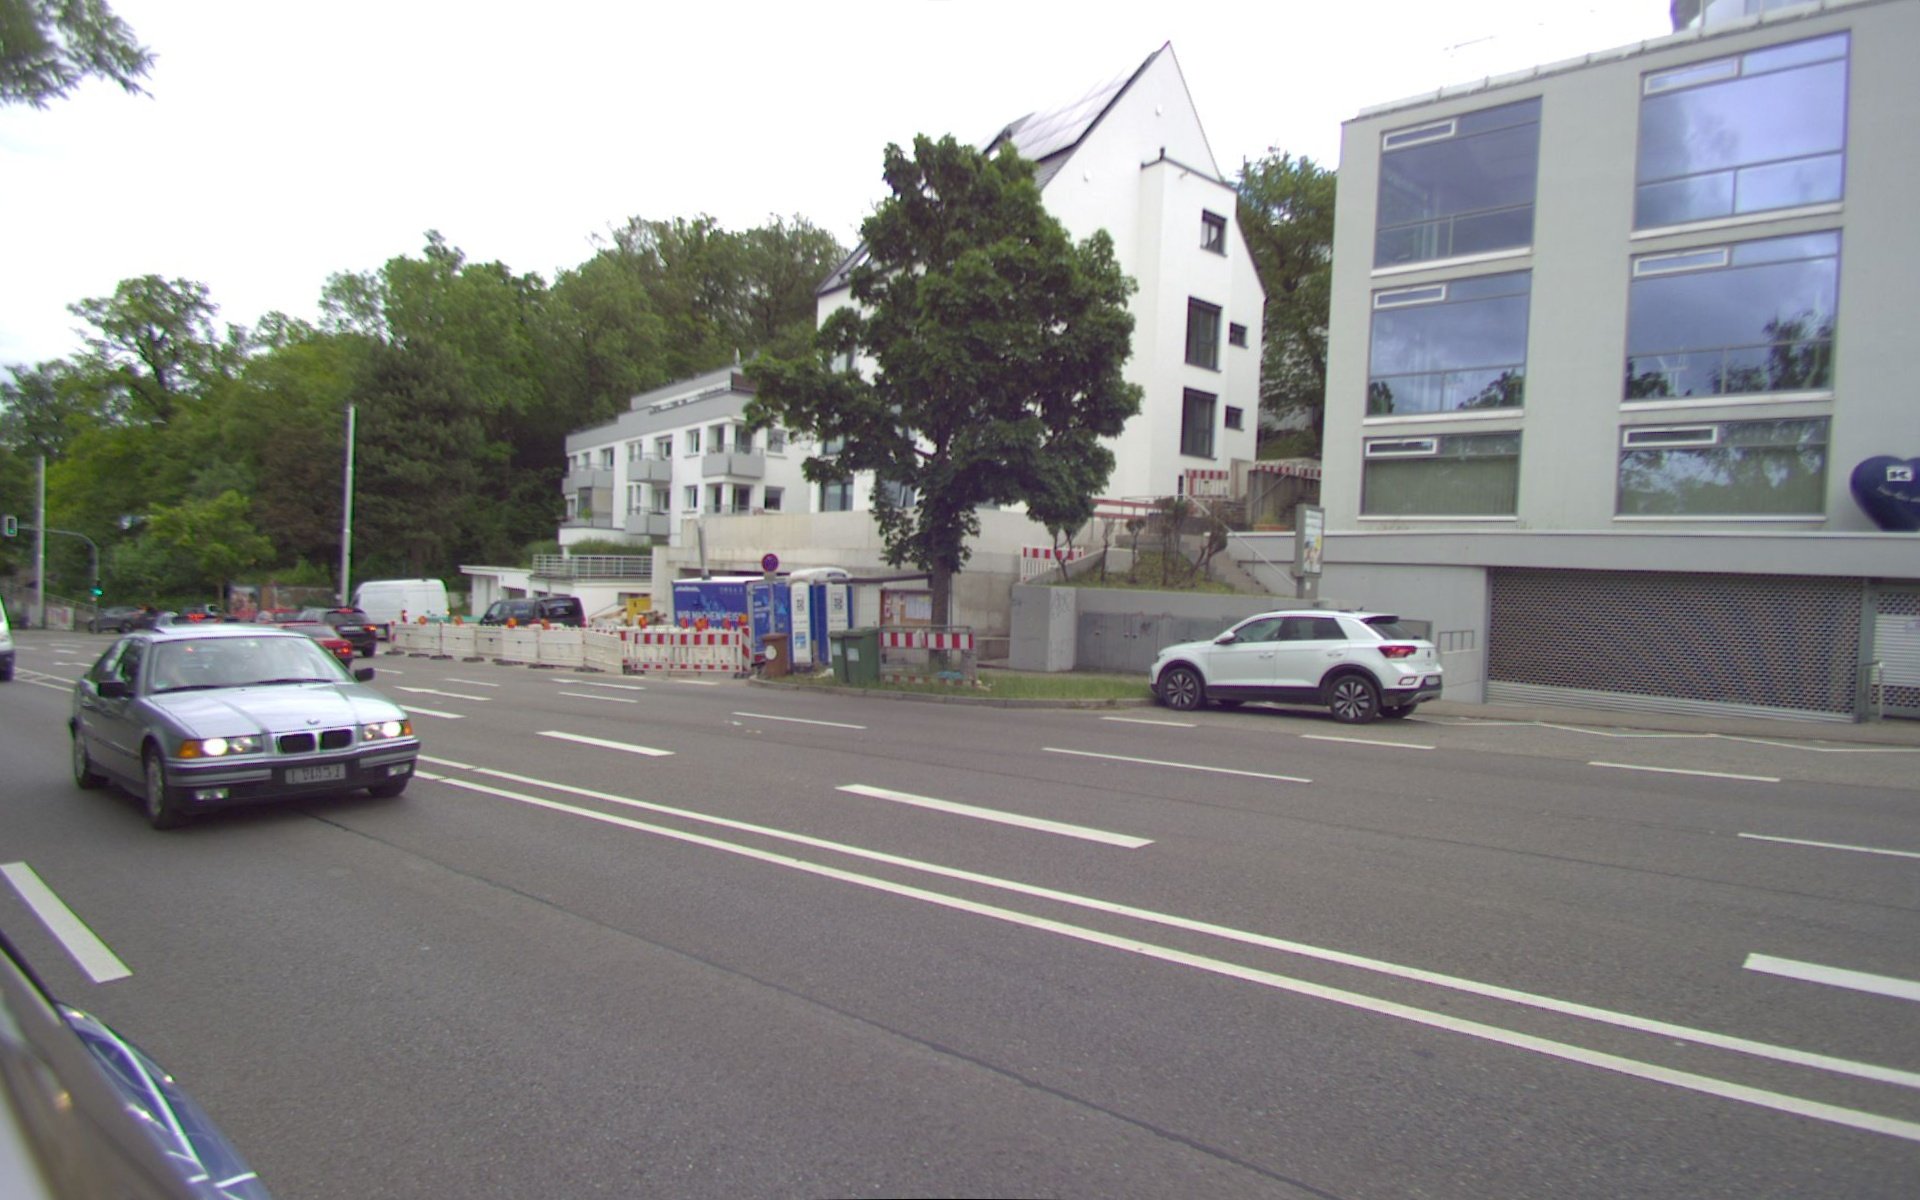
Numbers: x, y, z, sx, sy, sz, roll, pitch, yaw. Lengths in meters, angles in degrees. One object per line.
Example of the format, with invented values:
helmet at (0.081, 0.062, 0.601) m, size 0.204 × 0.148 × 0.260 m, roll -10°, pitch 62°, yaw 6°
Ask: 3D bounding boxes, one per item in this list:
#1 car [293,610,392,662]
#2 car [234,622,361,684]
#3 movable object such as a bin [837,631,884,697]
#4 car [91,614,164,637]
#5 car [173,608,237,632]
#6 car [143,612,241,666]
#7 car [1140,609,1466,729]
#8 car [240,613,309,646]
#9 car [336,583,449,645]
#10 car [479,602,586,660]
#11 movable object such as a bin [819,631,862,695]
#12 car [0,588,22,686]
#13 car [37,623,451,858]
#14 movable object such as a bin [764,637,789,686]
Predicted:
car at (-20.428, 1.143, 33.413) m, size 4.226 × 1.609 × 1.756 m, roll -1°, pitch -1°, yaw 43°
car at (-16.820, 1.278, 25.611) m, size 4.322 × 1.392 × 1.729 m, roll -1°, pitch -1°, yaw 43°
movable object such as a bin at (-1.811, 1.145, 18.375) m, size 0.581 × 1.146 × 0.646 m, roll 0°, pitch -1°, yaw -43°
car at (-48.047, 1.470, 58.402) m, size 3.260 × 1.294 × 1.562 m, roll 0°, pitch -1°, yaw 11°
car at (-46.443, 1.218, 62.330) m, size 1.561 × 1.454 × 3.295 m, roll 0°, pitch -1°, yaw -1°
car at (-24.523, 1.193, 32.239) m, size 4.664 × 1.609 × 1.756 m, roll -1°, pitch -1°, yaw 43°
car at (4.899, 0.914, 14.840) m, size 4.238 × 1.515 × 1.650 m, roll -1°, pitch -2°, yaw 43°
car at (-31.244, 1.334, 46.120) m, size 3.288 × 1.454 × 1.564 m, roll -1°, pitch -1°, yaw 36°
car at (-24.948, 0.618, 44.381) m, size 6.525 × 2.545 × 1.974 m, roll -1°, pitch 0°, yaw 38°
car at (-14.207, 0.981, 33.537) m, size 4.252 × 1.764 × 1.786 m, roll -1°, pitch 0°, yaw 45°
movable object such as a bin at (-2.224, 1.150, 18.823) m, size 0.577 × 1.146 × 0.586 m, roll 0°, pitch -1°, yaw -43°
car at (-24.343, 0.880, 23.947) m, size 6.255 × 2.190 × 1.976 m, roll -1°, pitch -2°, yaw 36°
car at (-6.019, 0.903, 8.265) m, size 4.615 × 1.393 × 1.618 m, roll -1°, pitch -1°, yaw 40°
movable object such as a bin at (-3.747, 1.249, 20.629) m, size 0.322 × 0.982 × 0.426 m, roll 0°, pitch -1°, yaw -43°
